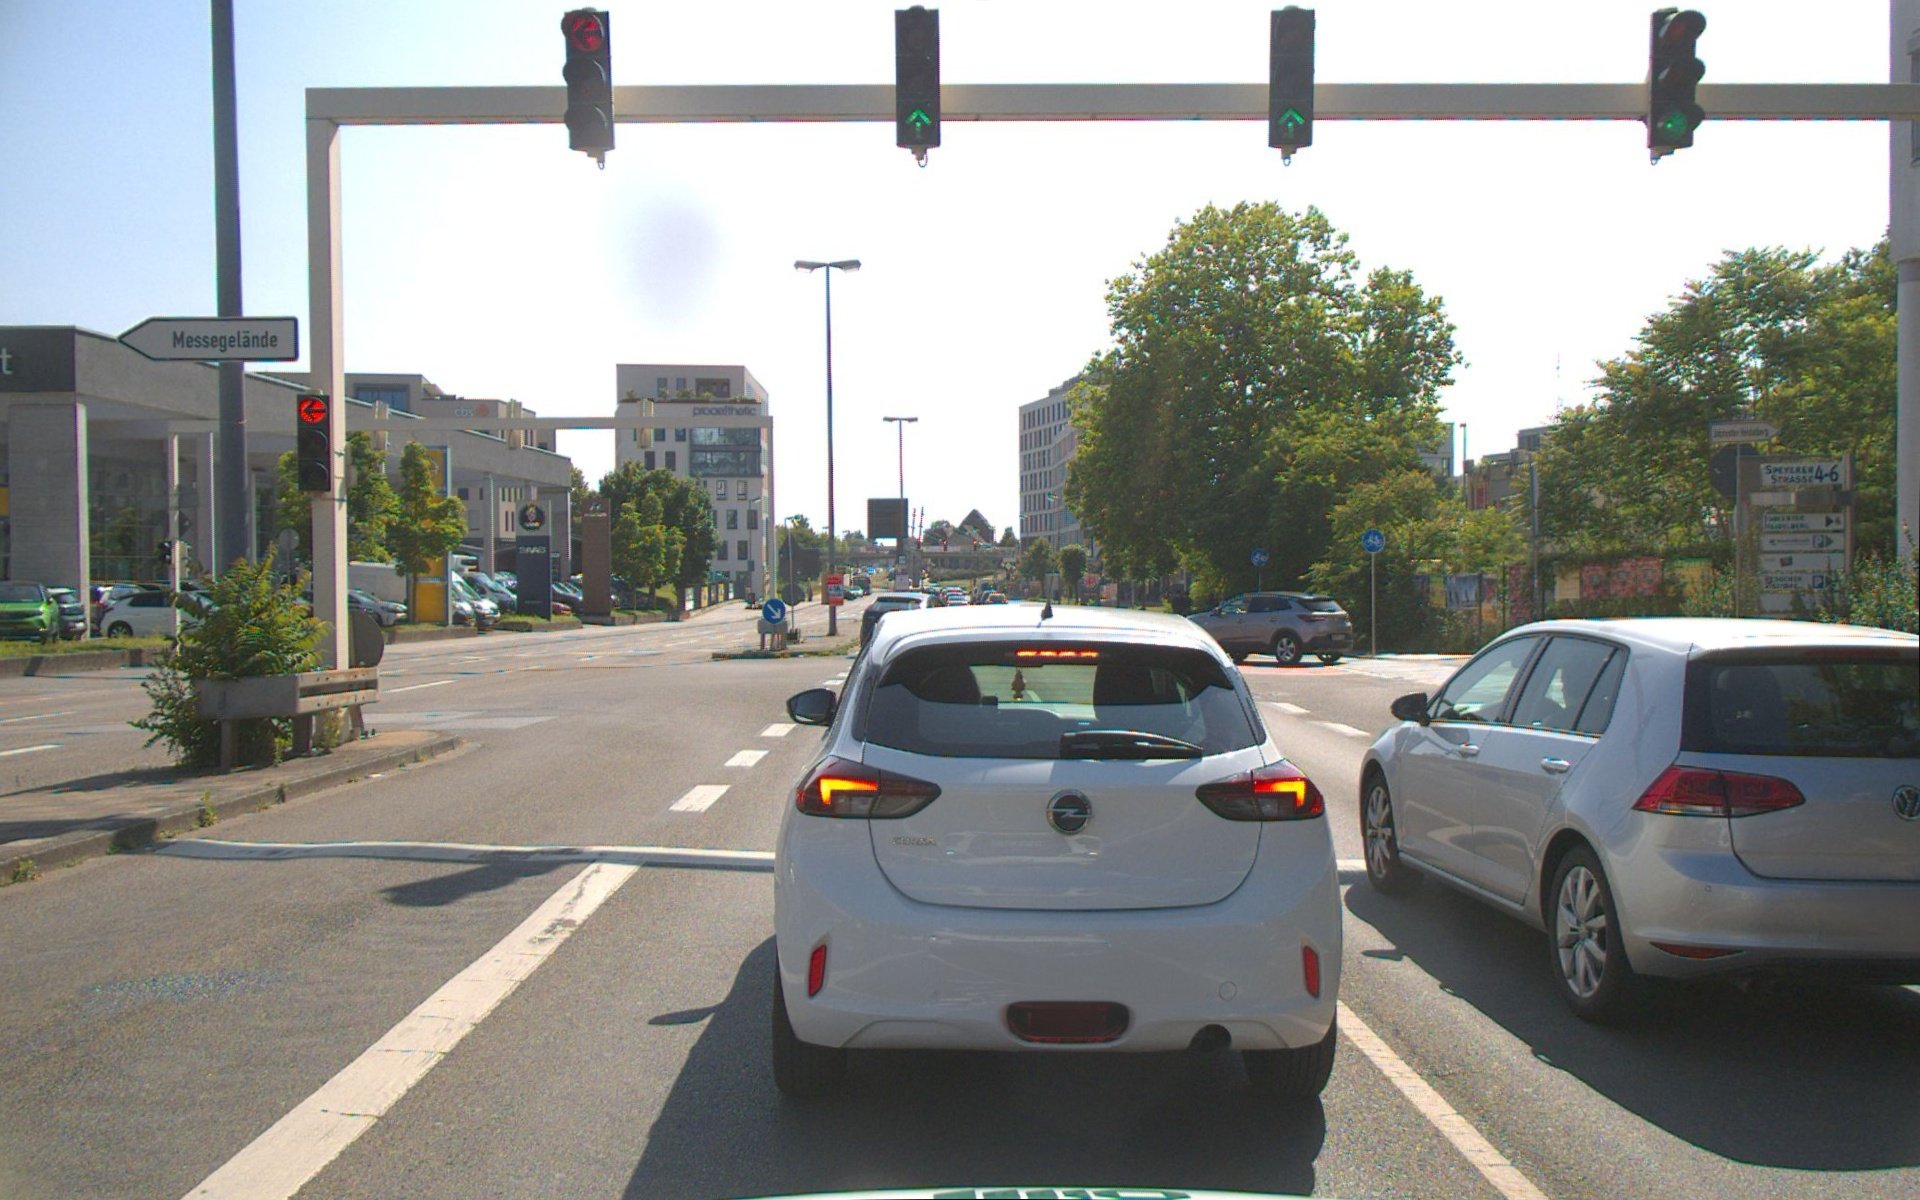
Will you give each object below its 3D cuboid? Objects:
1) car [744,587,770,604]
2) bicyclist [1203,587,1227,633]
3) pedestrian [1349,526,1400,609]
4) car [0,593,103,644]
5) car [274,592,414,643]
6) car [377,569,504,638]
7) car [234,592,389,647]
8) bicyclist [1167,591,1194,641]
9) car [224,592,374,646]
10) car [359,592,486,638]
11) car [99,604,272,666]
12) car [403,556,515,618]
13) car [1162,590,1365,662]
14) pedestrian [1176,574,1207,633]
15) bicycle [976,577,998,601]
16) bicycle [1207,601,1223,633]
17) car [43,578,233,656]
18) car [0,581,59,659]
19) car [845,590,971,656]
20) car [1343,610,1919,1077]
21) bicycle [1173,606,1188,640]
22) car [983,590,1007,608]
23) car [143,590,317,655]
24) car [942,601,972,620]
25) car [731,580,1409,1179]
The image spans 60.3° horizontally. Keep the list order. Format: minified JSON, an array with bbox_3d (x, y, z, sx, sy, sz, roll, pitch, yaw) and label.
[{"bbox_3d":[-17.358,-0.385,141.865,1.769,1.410,3.999,1,-1,-1],"label":"car"},{"bbox_3d":[9.245,0.364,59.989,0.675,1.672,0.775,0,0,-9],"label":"bicyclist"},{"bbox_3d":[10.457,-0.815,41.784,1.006,2.049,1.038,0,0,-1],"label":"pedestrian"},{"bbox_3d":[-26.267,0.544,45.527,4.276,1.290,1.996,-2,-1,-9],"label":"car"},{"bbox_3d":[-21.995,0.618,59.208,4.270,1.726,1.999,-1,0,-4],"label":"car"},{"bbox_3d":[-21.144,0.154,67.411,4.401,2.731,2.130,0,0,8],"label":"car"},{"bbox_3d":[-21.021,0.627,53.767,4.270,1.726,1.999,0,0,-3],"label":"car"},{"bbox_3d":[8.103,0.574,60.803,0.861,1.803,0.863,0,0,-1],"label":"bicyclist"},{"bbox_3d":[-22.325,0.623,55.962,4.270,1.726,1.999,-1,0,-4],"label":"car"},{"bbox_3d":[-21.072,0.571,64.963,4.265,1.726,2.001,-1,0,4],"label":"car"},{"bbox_3d":[-21.479,0.938,45.991,3.912,1.627,1.997,-1,0,-8],"label":"car"},{"bbox_3d":[-21.990,-0.566,72.711,4.265,2.646,2.001,-1,0,4],"label":"car"},{"bbox_3d":[7.005,0.572,38.520,1.984,1.578,4.363,-1,0,-43],"label":"car"},{"bbox_3d":[9.068,0.124,64.818,1.006,2.278,1.038,0,0,-1],"label":"pedestrian"},{"bbox_3d":[2.543,-1.042,155.447,1.953,2.195,3.999,-1,0,-1],"label":"bicycle"},{"bbox_3d":[9.242,0.610,60.027,0.366,1.167,1.034,1,-1,-3],"label":"bicycle"},{"bbox_3d":[-20.732,0.411,41.842,3.793,1.870,1.999,-1,0,-4],"label":"car"},{"bbox_3d":[-22.562,0.501,38.948,1.887,1.764,3.250,-1,-1,-37],"label":"car"},{"bbox_3d":[-1.172,0.524,39.687,1.951,1.472,4.374,0,0,13],"label":"car"},{"bbox_3d":[3.081,0.780,7.262,1.771,1.454,3.999,-1,0,-2],"label":"car"},{"bbox_3d":[8.112,0.837,60.796,0.365,1.238,1.153,1,0,-1],"label":"bicycle"},{"bbox_3d":[2.844,-0.062,135.317,1.769,1.410,3.999,1,-1,-1],"label":"car"},{"bbox_3d":[-21.391,0.642,48.625,4.211,1.796,1.999,-1,0,-4],"label":"car"},{"bbox_3d":[-0.243,0.780,120.720,1.954,1.355,3.997,1,-1,-3],"label":"car"},{"bbox_3d":[0.253,0.710,6.271,1.743,1.520,3.999,-1,0,-1],"label":"car"}]
